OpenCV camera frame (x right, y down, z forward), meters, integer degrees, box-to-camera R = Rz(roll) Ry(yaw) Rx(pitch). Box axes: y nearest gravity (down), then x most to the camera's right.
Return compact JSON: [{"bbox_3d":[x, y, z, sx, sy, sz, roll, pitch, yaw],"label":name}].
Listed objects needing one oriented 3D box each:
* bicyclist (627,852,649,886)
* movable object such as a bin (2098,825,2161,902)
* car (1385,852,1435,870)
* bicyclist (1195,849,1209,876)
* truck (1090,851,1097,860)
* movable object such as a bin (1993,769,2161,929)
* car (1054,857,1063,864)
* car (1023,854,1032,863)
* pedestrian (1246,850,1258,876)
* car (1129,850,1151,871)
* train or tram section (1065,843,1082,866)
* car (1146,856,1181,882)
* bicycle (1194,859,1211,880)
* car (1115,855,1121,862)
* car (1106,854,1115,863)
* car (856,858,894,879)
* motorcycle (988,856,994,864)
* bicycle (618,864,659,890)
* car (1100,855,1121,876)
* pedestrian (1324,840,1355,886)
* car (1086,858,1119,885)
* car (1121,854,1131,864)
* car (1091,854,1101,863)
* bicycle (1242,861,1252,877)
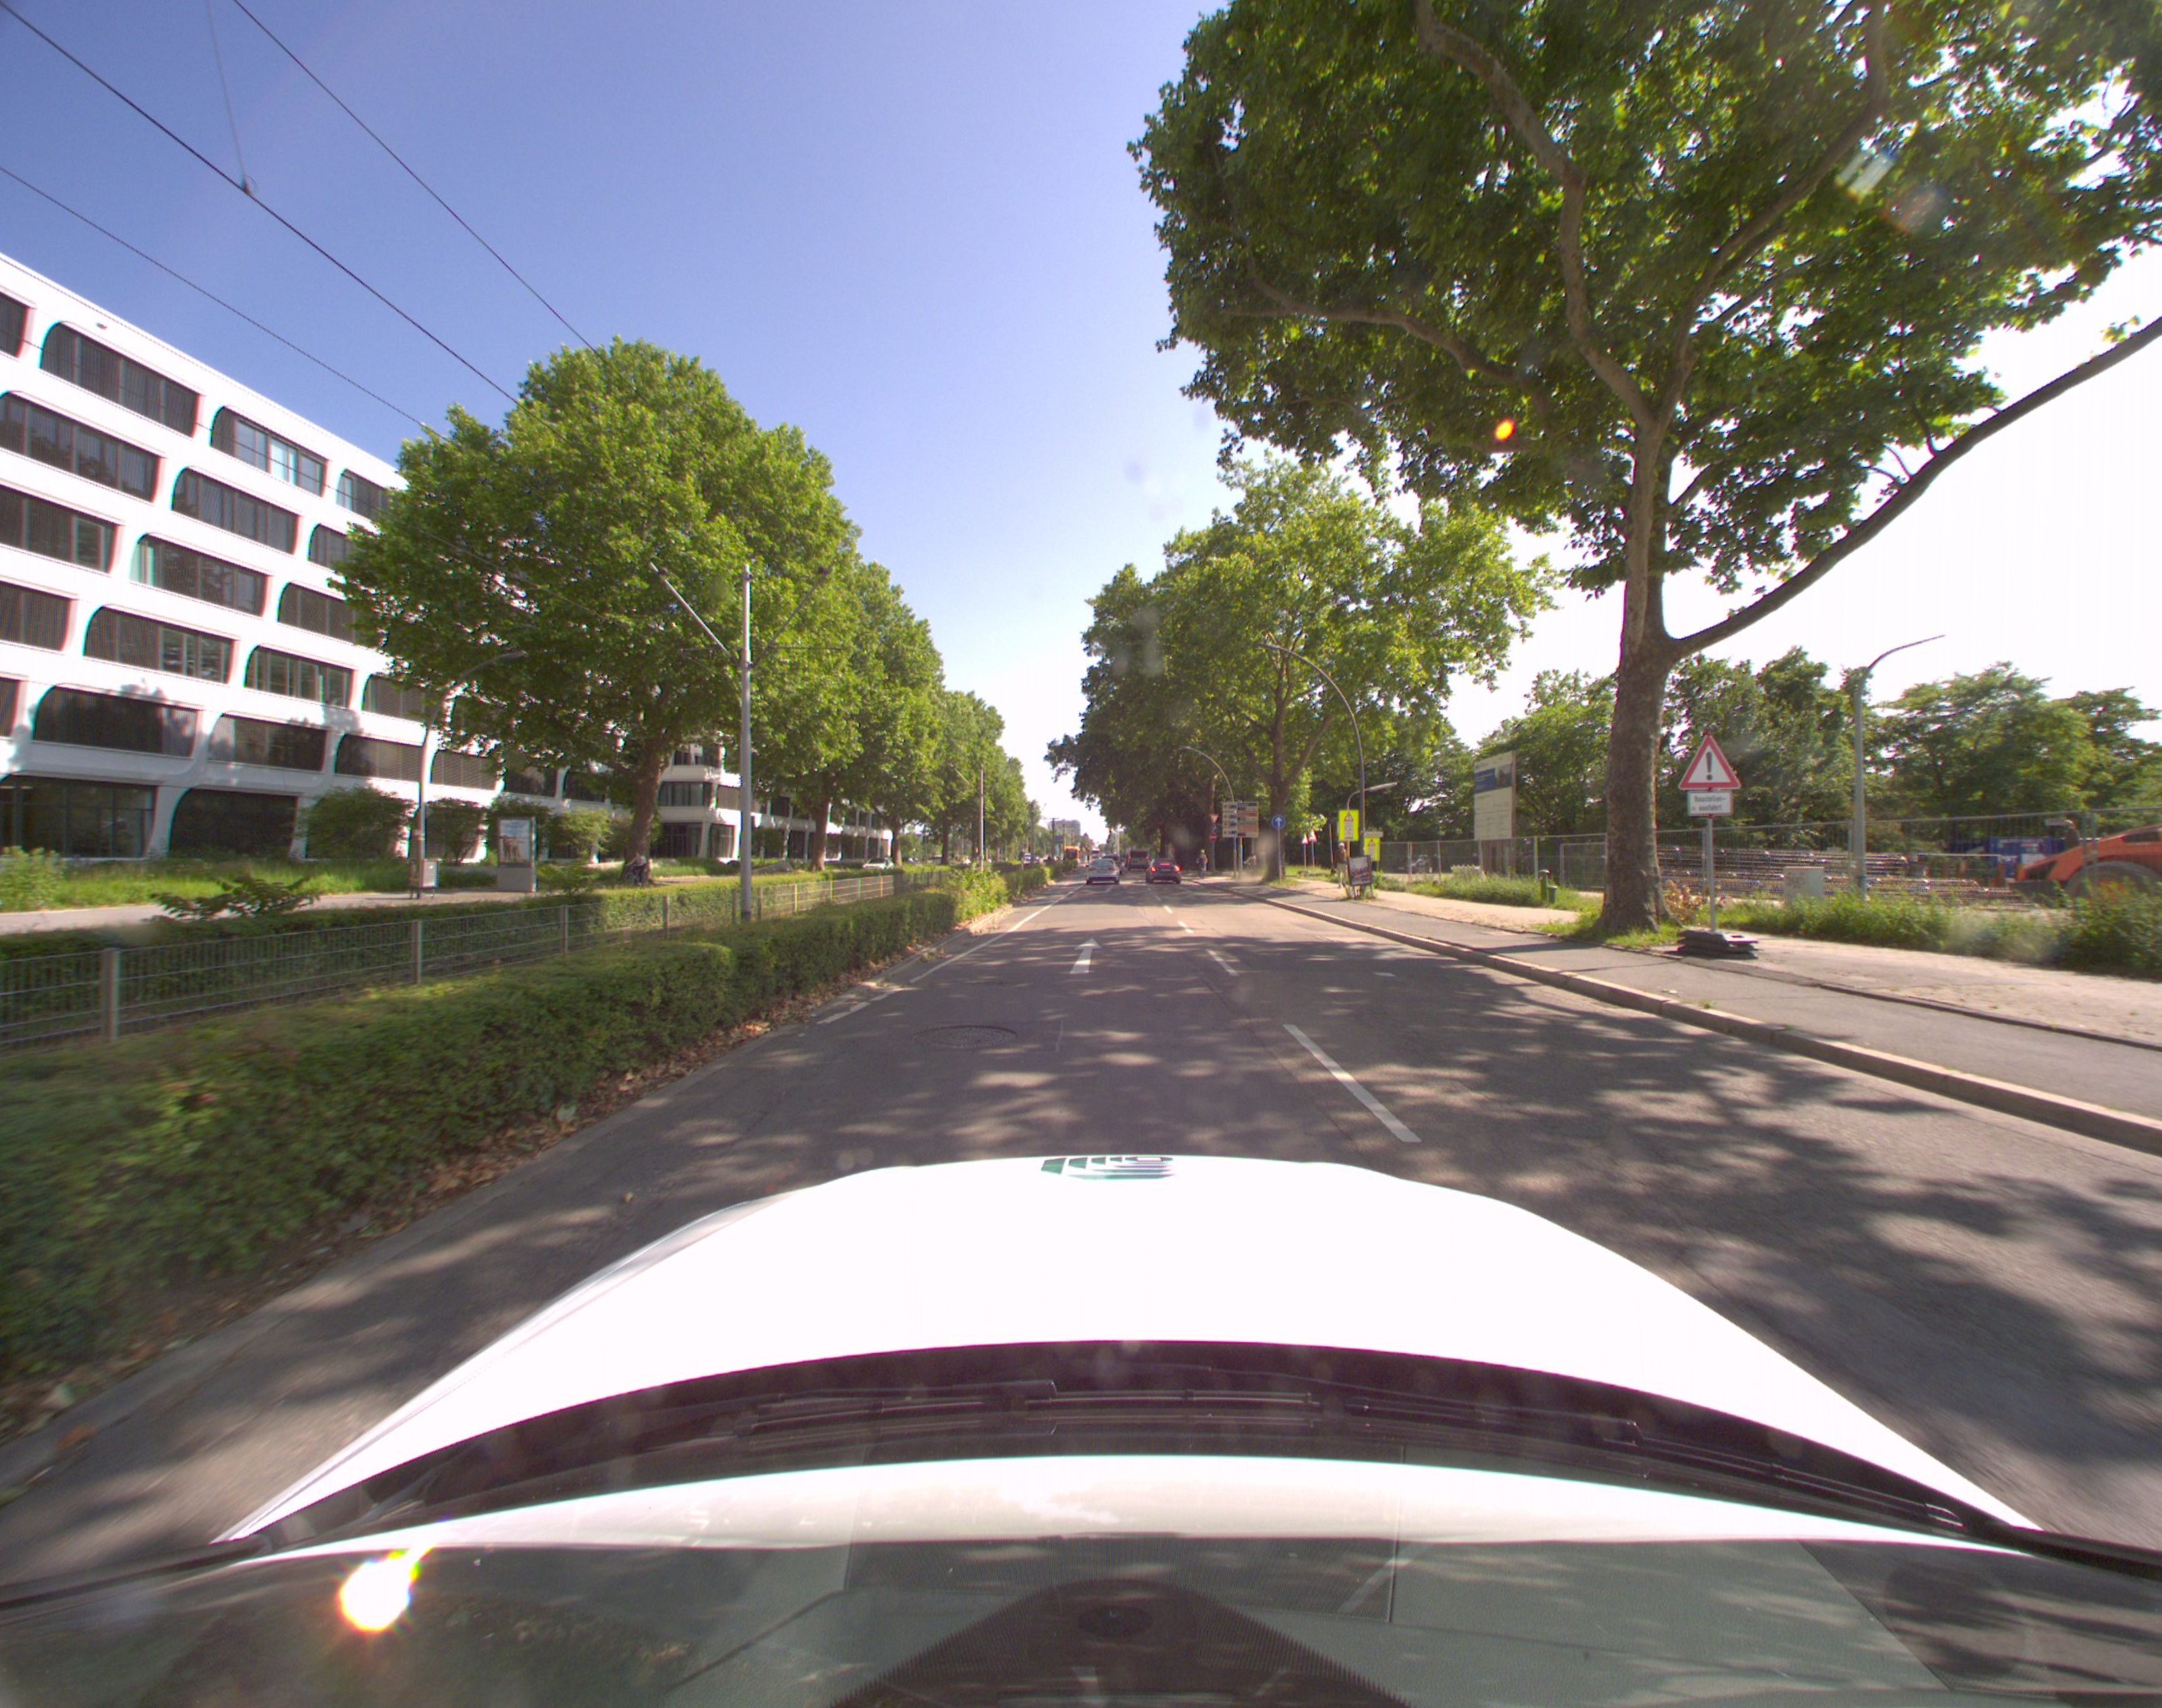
[{"bbox_3d":[-19.978,0.683,36.728,0.652,1.535,0.641,0,0,2],"label":"bicyclist"},{"bbox_3d":[44.295,0.363,31.742,5.156,2.975,3.296,0,0,2],"label":"movable object such as a bin"},{"bbox_3d":[26.334,0.537,65.169,4.014,1.454,1.667,0,0,-33],"label":"car"},{"bbox_3d":[7.644,0.526,51.486,0.632,1.648,0.980,-3,1,1],"label":"bicyclist"},{"bbox_3d":[4.053,0.418,260.146,1.985,2.790,8.524,0,0,3],"label":"truck"},{"bbox_3d":[21.949,-0.091,15.545,2.362,3.072,5.982,0,0,-1],"label":"movable object such as a bin"},{"bbox_3d":[-5.987,1.770,214.328,1.985,1.734,4.003,0,0,3],"label":"car"},{"bbox_3d":[-14.306,1.302,218.789,2.106,2.383,4.003,0,0,3],"label":"car"},{"bbox_3d":[11.509,0.606,54.909,0.629,1.785,0.874,0,0,2],"label":"pedestrian"},{"bbox_3d":[6.190,0.654,86.123,2.221,2.212,4.164,0,0,2],"label":"car"},{"bbox_3d":[-1.268,0.119,143.918,2.606,4.015,7.754,0,0,3],"label":"train or tram section"},{"bbox_3d":[4.686,0.849,46.860,1.775,1.420,4.002,0,0,2],"label":"car"},{"bbox_3d":[7.660,0.952,51.416,0.712,1.148,2.179,-3,2,1],"label":"bicycle"},{"bbox_3d":[9.727,1.150,214.850,1.722,1.901,4.002,0,0,2],"label":"car"},{"bbox_3d":[6.072,0.919,167.664,1.722,1.901,4.002,0,0,2],"label":"car"},{"bbox_3d":[-15.585,1.073,61.790,1.750,1.570,4.021,0,0,2],"label":"car"},{"bbox_3d":[-14.135,0.903,127.979,0.630,1.175,2.001,0,0,2],"label":"motorcycle"},{"bbox_3d":[-19.970,1.027,36.762,0.661,1.124,2.032,0,0,2],"label":"bicycle"},{"bbox_3d":[2.413,0.912,66.342,1.722,1.605,3.887,0,0,2],"label":"car"},{"bbox_3d":[10.712,0.368,33.769,0.935,1.892,1.152,0,0,2],"label":"pedestrian"},{"bbox_3d":[1.218,0.944,45.276,1.778,1.420,3.887,0,0,2],"label":"car"},{"bbox_3d":[9.201,0.955,168.003,2.064,1.999,4.060,0,0,2],"label":"car"},{"bbox_3d":[2.857,0.816,153.487,1.722,1.631,4.002,0,0,2],"label":"car"},{"bbox_3d":[11.149,0.993,54.754,0.348,1.082,1.700,0,0,2],"label":"bicycle"}]
